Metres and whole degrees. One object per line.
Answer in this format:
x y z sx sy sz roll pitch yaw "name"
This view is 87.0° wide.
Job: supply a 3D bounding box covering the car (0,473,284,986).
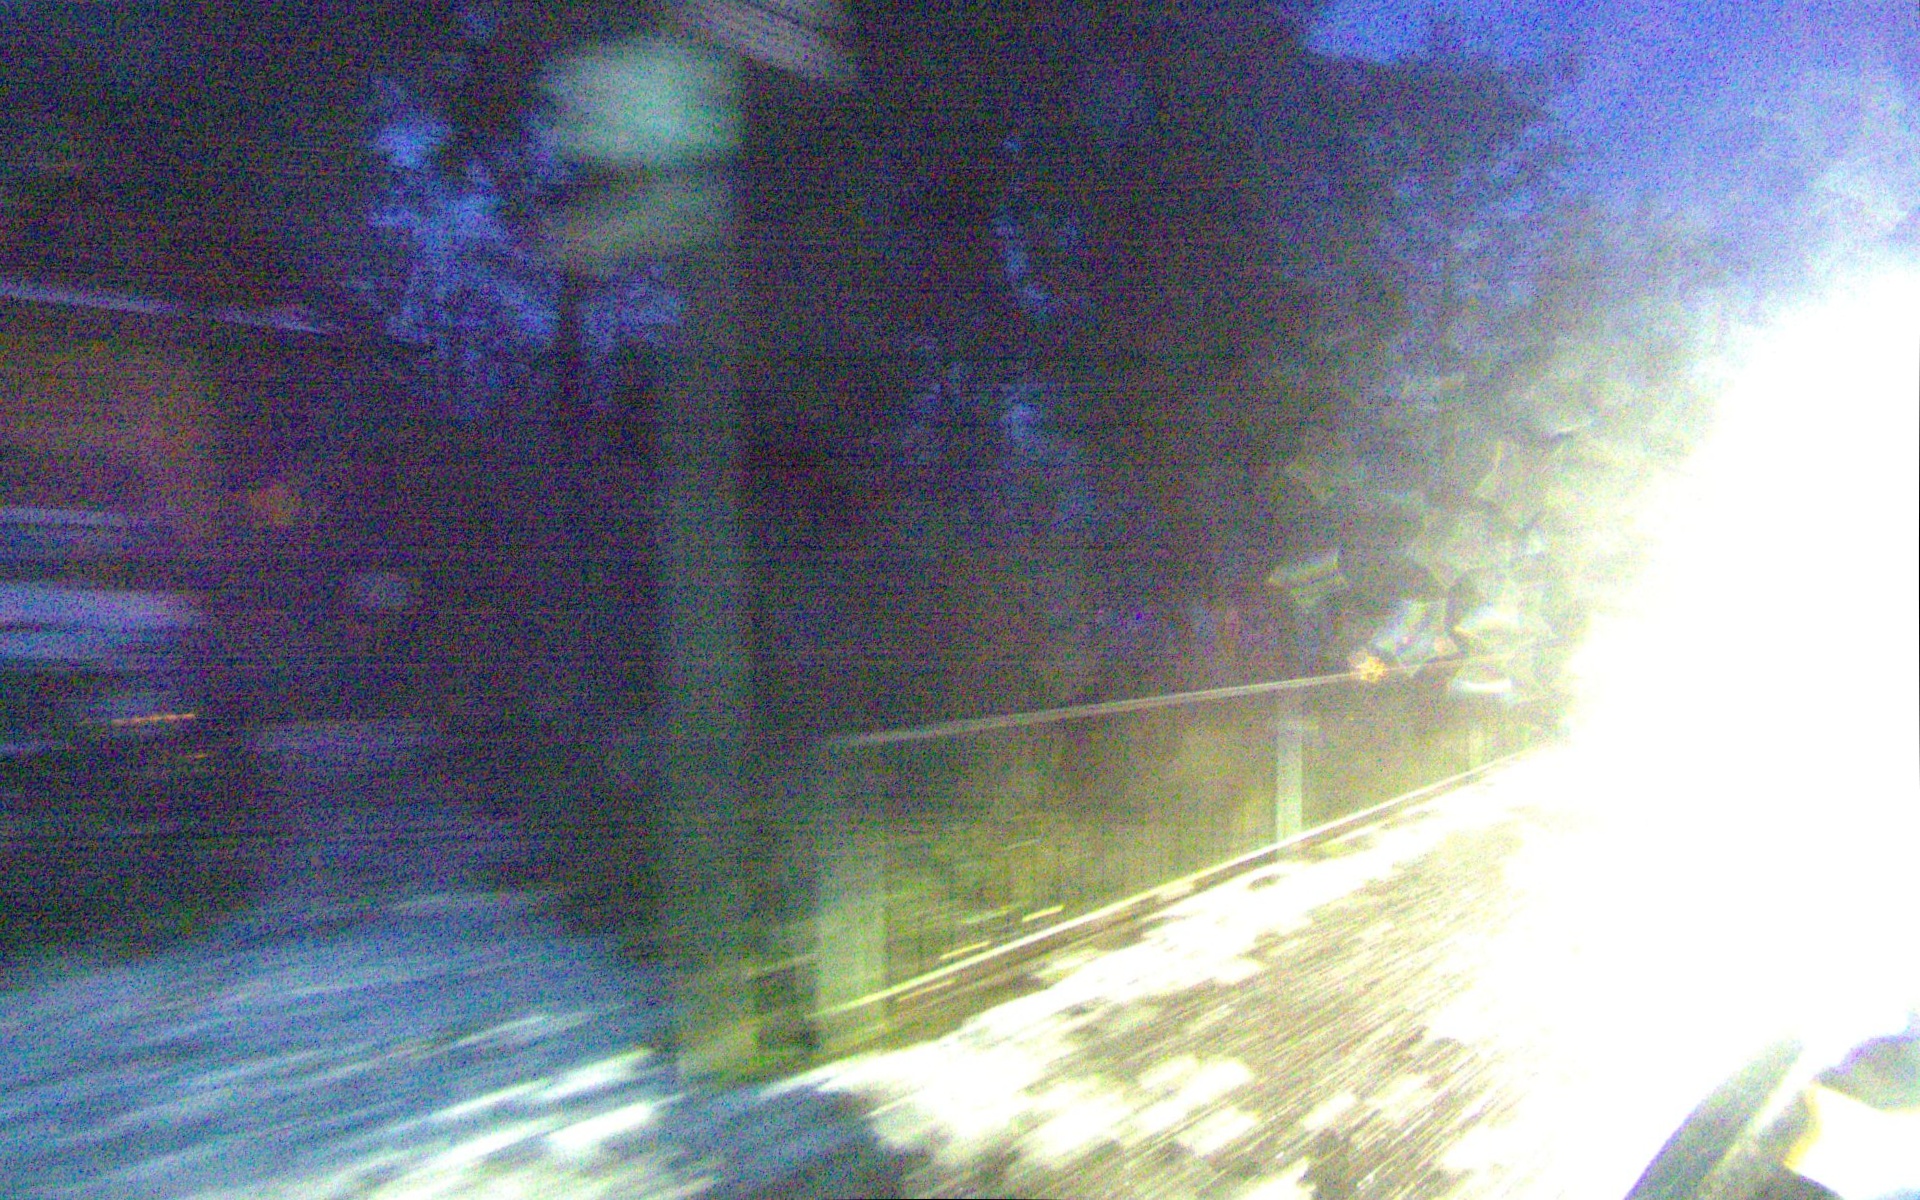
-4.461 0.295 4.849 1.902 1.605 4.484 1 2 -35 "car"
